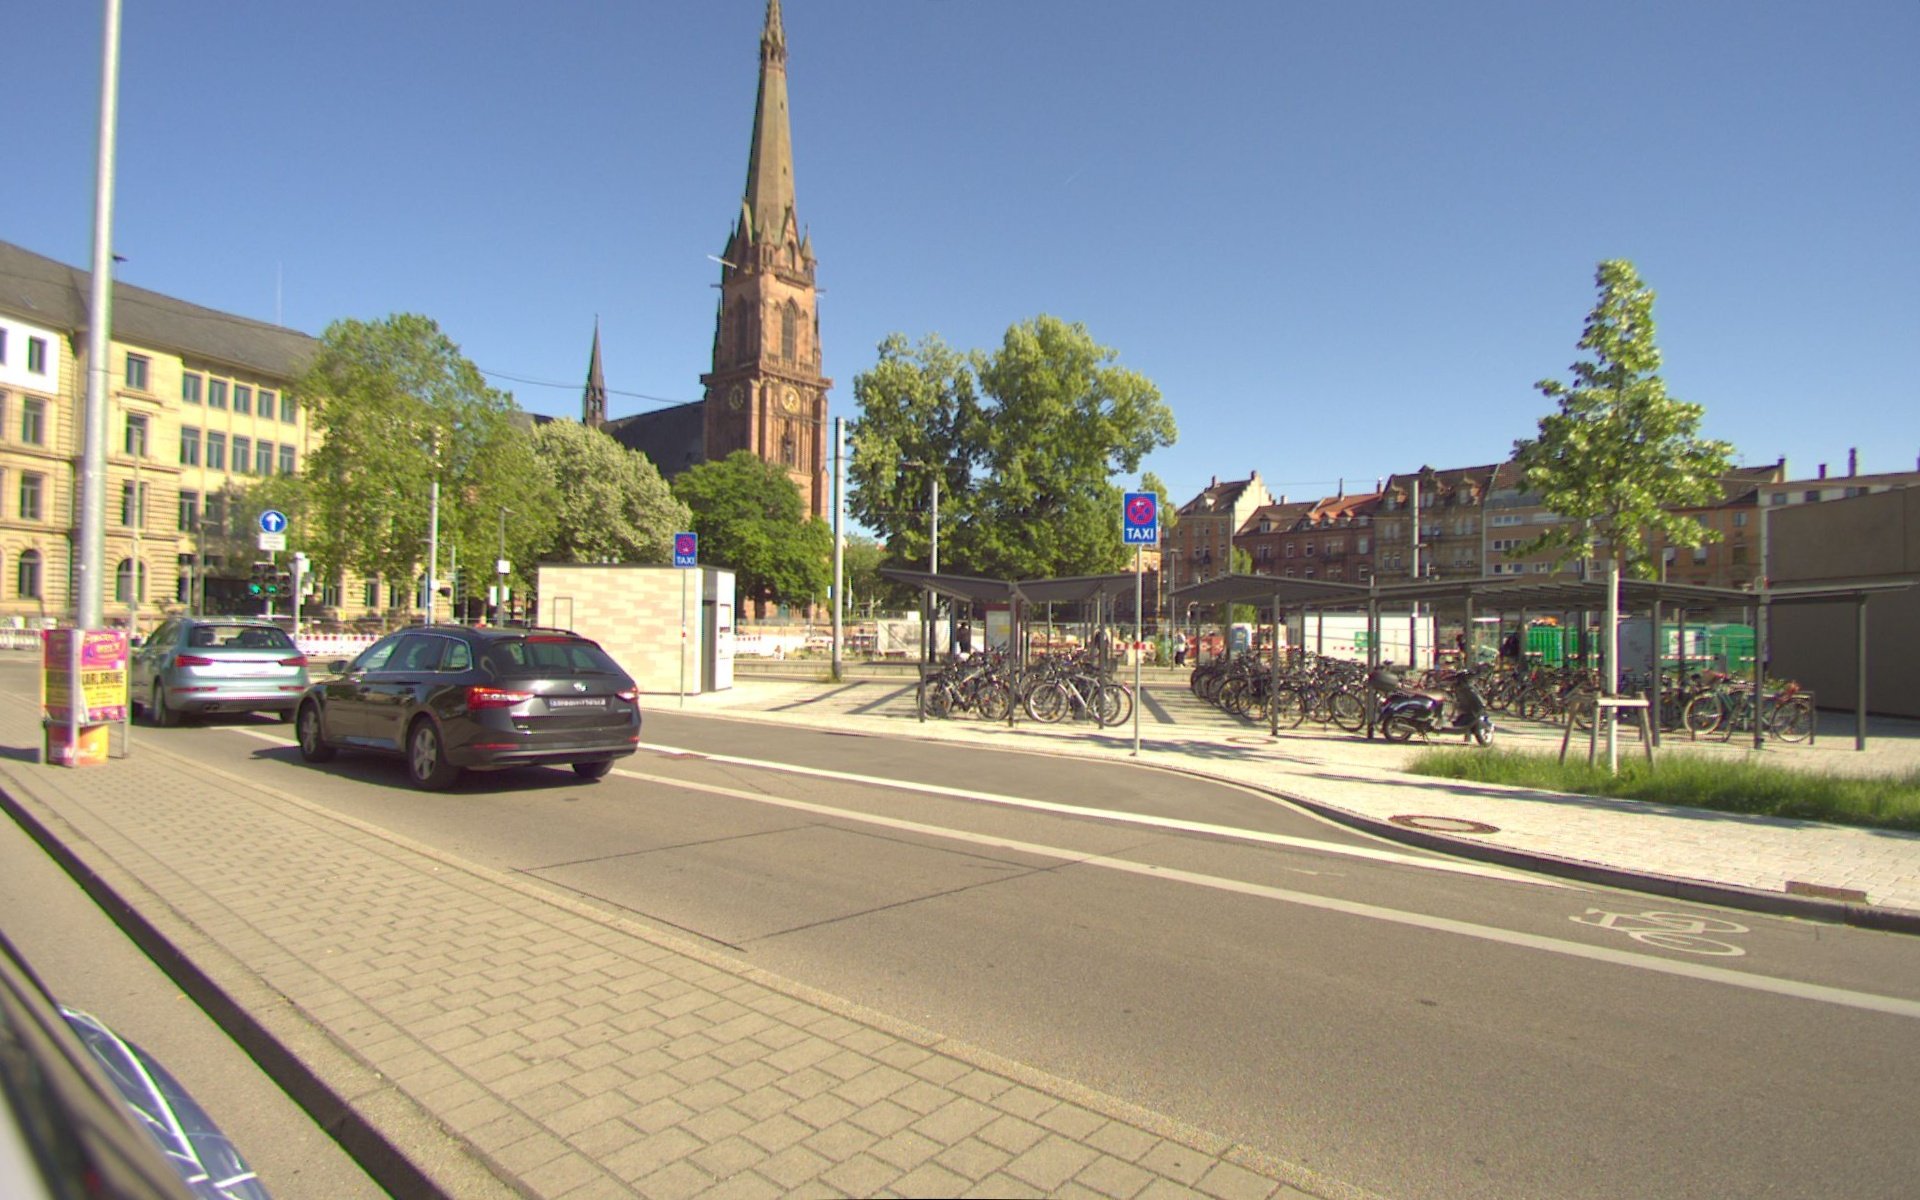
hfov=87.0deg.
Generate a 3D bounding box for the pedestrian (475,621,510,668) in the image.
[{"bbox_3d":[-18.162,1.711,39.321,0.802,1.793,0.965,-1,-2,40],"label":"pedestrian"}]

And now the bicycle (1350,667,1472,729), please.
[{"bbox_3d":[7.896,1.708,17.766,1.882,1.016,0.456,0,-2,8],"label":"bicycle"}]

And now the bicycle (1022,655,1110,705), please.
[{"bbox_3d":[2.298,1.722,21.924,1.882,1.016,0.456,0,-2,8],"label":"bicycle"}]

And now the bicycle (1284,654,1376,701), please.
[{"bbox_3d":[8.317,1.735,22.821,1.882,1.016,0.456,0,-2,8],"label":"bicycle"}]

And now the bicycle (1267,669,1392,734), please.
[{"bbox_3d":[6.123,1.682,16.843,1.882,1.016,0.456,0,-2,8],"label":"bicycle"}]

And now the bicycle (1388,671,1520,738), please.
[{"bbox_3d":[8.030,1.691,16.497,1.882,1.016,0.456,0,-2,8],"label":"bicycle"}]

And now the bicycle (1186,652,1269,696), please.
[{"bbox_3d":[6.395,1.762,24.228,1.882,1.016,0.456,0,-2,8],"label":"bicycle"}]

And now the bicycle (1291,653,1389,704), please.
[{"bbox_3d":[8.058,1.660,21.523,1.882,1.016,0.456,0,-2,8],"label":"bicycle"}]

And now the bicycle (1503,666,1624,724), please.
[{"bbox_3d":[11.166,1.756,18.761,1.882,1.016,0.456,0,-2,8],"label":"bicycle"}]

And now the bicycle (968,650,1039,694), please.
[{"bbox_3d":[1.043,1.714,24.229,1.652,1.016,0.456,0,-2,8],"label":"bicycle"}]

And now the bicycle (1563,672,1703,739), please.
[{"bbox_3d":[10.974,1.717,16.540,1.882,1.016,0.456,0,-2,8],"label":"bicycle"}]

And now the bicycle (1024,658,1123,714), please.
[{"bbox_3d":[2.198,1.659,19.588,1.882,1.016,0.456,0,-2,8],"label":"bicycle"}]

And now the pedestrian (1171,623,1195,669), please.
[{"bbox_3d":[8.927,1.831,40.553,0.792,1.793,0.977,0,-2,3],"label":"pedestrian"}]

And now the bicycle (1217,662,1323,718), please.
[{"bbox_3d":[5.899,1.708,19.326,1.882,1.016,0.456,0,-2,8],"label":"bicycle"}]

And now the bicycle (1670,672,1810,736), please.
[{"bbox_3d":[13.130,1.743,17.069,1.882,1.016,0.456,0,-2,8],"label":"bicycle"}]

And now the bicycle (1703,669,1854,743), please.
[{"bbox_3d":[13.083,1.684,16.209,1.882,1.106,0.456,0,-2,8],"label":"bicycle"}]

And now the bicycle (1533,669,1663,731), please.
[{"bbox_3d":[11.102,1.732,17.645,1.882,1.016,0.456,0,-2,8],"label":"bicycle"}]

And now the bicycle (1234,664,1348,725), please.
[{"bbox_3d":[5.901,1.683,18.096,1.882,1.016,0.456,0,-2,8],"label":"bicycle"}]

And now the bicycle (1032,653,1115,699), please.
[{"bbox_3d":[2.607,1.747,23.307,1.882,1.016,0.456,0,-2,8],"label":"bicycle"}]

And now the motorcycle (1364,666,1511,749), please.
[{"bbox_3d":[7.163,1.602,15.229,1.924,1.160,0.516,0,-2,6],"label":"motorcycle"}]

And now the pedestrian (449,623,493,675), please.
[{"bbox_3d":[-17.158,1.709,35.502,1.130,1.793,0.965,-1,-2,40],"label":"pedestrian"}]

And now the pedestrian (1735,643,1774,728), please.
[{"bbox_3d":[19.464,2.086,24.796,0.718,2.029,0.678,-1,-4,41],"label":"pedestrian"}]

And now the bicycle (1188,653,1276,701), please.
[{"bbox_3d":[6.150,1.738,22.946,1.882,1.016,0.456,0,-2,8],"label":"bicycle"}]

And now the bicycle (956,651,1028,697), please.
[{"bbox_3d":[0.748,1.709,23.485,1.652,1.016,0.456,0,-2,8],"label":"bicycle"}]

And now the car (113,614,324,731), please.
[{"bbox_3d":[-11.478,1.041,15.558,4.241,1.554,1.835,-1,-4,44],"label":"car"}]

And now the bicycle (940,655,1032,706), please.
[{"bbox_3d":[0.545,1.675,21.229,1.882,1.016,0.456,0,-2,8],"label":"bicycle"}]

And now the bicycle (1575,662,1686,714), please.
[{"bbox_3d":[13.875,1.818,20.974,1.882,1.016,0.456,0,-2,8],"label":"bicycle"}]

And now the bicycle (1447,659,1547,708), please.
[{"bbox_3d":[11.785,1.824,22.247,1.882,1.016,0.456,0,-2,8],"label":"bicycle"}]

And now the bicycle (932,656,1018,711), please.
[{"bbox_3d":[0.307,1.630,19.891,1.652,1.016,0.456,0,-2,8],"label":"bicycle"}]

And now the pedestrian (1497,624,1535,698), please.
[{"bbox_3d":[14.252,1.557,25.968,0.676,1.848,0.564,0,-2,8],"label":"pedestrian"}]

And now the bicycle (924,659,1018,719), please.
[{"bbox_3d":[0.203,1.585,18.194,1.652,1.016,0.456,0,-2,8],"label":"bicycle"}]

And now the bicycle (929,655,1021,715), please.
[{"bbox_3d":[0.282,1.569,18.779,1.652,1.069,0.456,0,-2,8],"label":"bicycle"}]

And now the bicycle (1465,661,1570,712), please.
[{"bbox_3d":[11.716,1.814,21.316,1.882,1.016,0.456,0,-2,8],"label":"bicycle"}]

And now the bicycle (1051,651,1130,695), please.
[{"bbox_3d":[3.163,1.776,24.602,1.882,1.016,0.456,0,-2,8],"label":"bicycle"}]

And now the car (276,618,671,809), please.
[{"bbox_3d":[-5.027,0.965,10.162,4.571,1.511,1.771,-1,-3,39],"label":"car"}]

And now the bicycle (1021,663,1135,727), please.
[{"bbox_3d":[1.991,1.602,17.117,1.882,1.016,0.456,0,-2,8],"label":"bicycle"}]

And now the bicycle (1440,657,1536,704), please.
[{"bbox_3d":[12.080,1.836,23.198,1.882,1.016,0.456,0,-2,8],"label":"bicycle"}]

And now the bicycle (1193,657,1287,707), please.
[{"bbox_3d":[5.967,1.746,21.612,1.882,1.016,0.456,0,-2,8],"label":"bicycle"}]

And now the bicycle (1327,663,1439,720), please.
[{"bbox_3d":[7.920,1.712,18.999,1.882,1.016,0.456,0,-2,8],"label":"bicycle"}]

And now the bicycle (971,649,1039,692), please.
[{"bbox_3d":[1.108,1.729,24.945,1.652,1.016,0.456,0,-2,8],"label":"bicycle"}]

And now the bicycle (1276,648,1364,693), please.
[{"bbox_3d":[8.488,1.652,23.913,1.882,1.016,0.456,0,-2,8],"label":"bicycle"}]

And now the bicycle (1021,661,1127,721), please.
[{"bbox_3d":[2.056,1.633,18.264,1.882,1.016,0.456,0,-2,8],"label":"bicycle"}]

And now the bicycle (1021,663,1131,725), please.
[{"bbox_3d":[2.021,1.624,17.677,1.882,1.016,0.456,0,-2,8],"label":"bicycle"}]

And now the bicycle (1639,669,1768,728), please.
[{"bbox_3d":[13.471,1.776,18.368,1.882,1.016,0.456,0,-2,8],"label":"bicycle"}]

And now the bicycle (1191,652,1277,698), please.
[{"bbox_3d":[6.367,1.731,23.570,1.882,1.016,0.456,0,-2,8],"label":"bicycle"}]

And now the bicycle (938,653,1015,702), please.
[{"bbox_3d":[0.373,1.690,22.227,1.652,1.016,0.456,0,-2,8],"label":"bicycle"}]

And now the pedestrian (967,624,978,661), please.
[{"bbox_3d":[0.586,1.994,47.619,0.399,1.734,0.419,1,-2,-11],"label":"pedestrian"}]

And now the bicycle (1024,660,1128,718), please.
[{"bbox_3d":[2.138,1.645,18.747,1.882,1.016,0.456,0,-2,8],"label":"bicycle"}]
